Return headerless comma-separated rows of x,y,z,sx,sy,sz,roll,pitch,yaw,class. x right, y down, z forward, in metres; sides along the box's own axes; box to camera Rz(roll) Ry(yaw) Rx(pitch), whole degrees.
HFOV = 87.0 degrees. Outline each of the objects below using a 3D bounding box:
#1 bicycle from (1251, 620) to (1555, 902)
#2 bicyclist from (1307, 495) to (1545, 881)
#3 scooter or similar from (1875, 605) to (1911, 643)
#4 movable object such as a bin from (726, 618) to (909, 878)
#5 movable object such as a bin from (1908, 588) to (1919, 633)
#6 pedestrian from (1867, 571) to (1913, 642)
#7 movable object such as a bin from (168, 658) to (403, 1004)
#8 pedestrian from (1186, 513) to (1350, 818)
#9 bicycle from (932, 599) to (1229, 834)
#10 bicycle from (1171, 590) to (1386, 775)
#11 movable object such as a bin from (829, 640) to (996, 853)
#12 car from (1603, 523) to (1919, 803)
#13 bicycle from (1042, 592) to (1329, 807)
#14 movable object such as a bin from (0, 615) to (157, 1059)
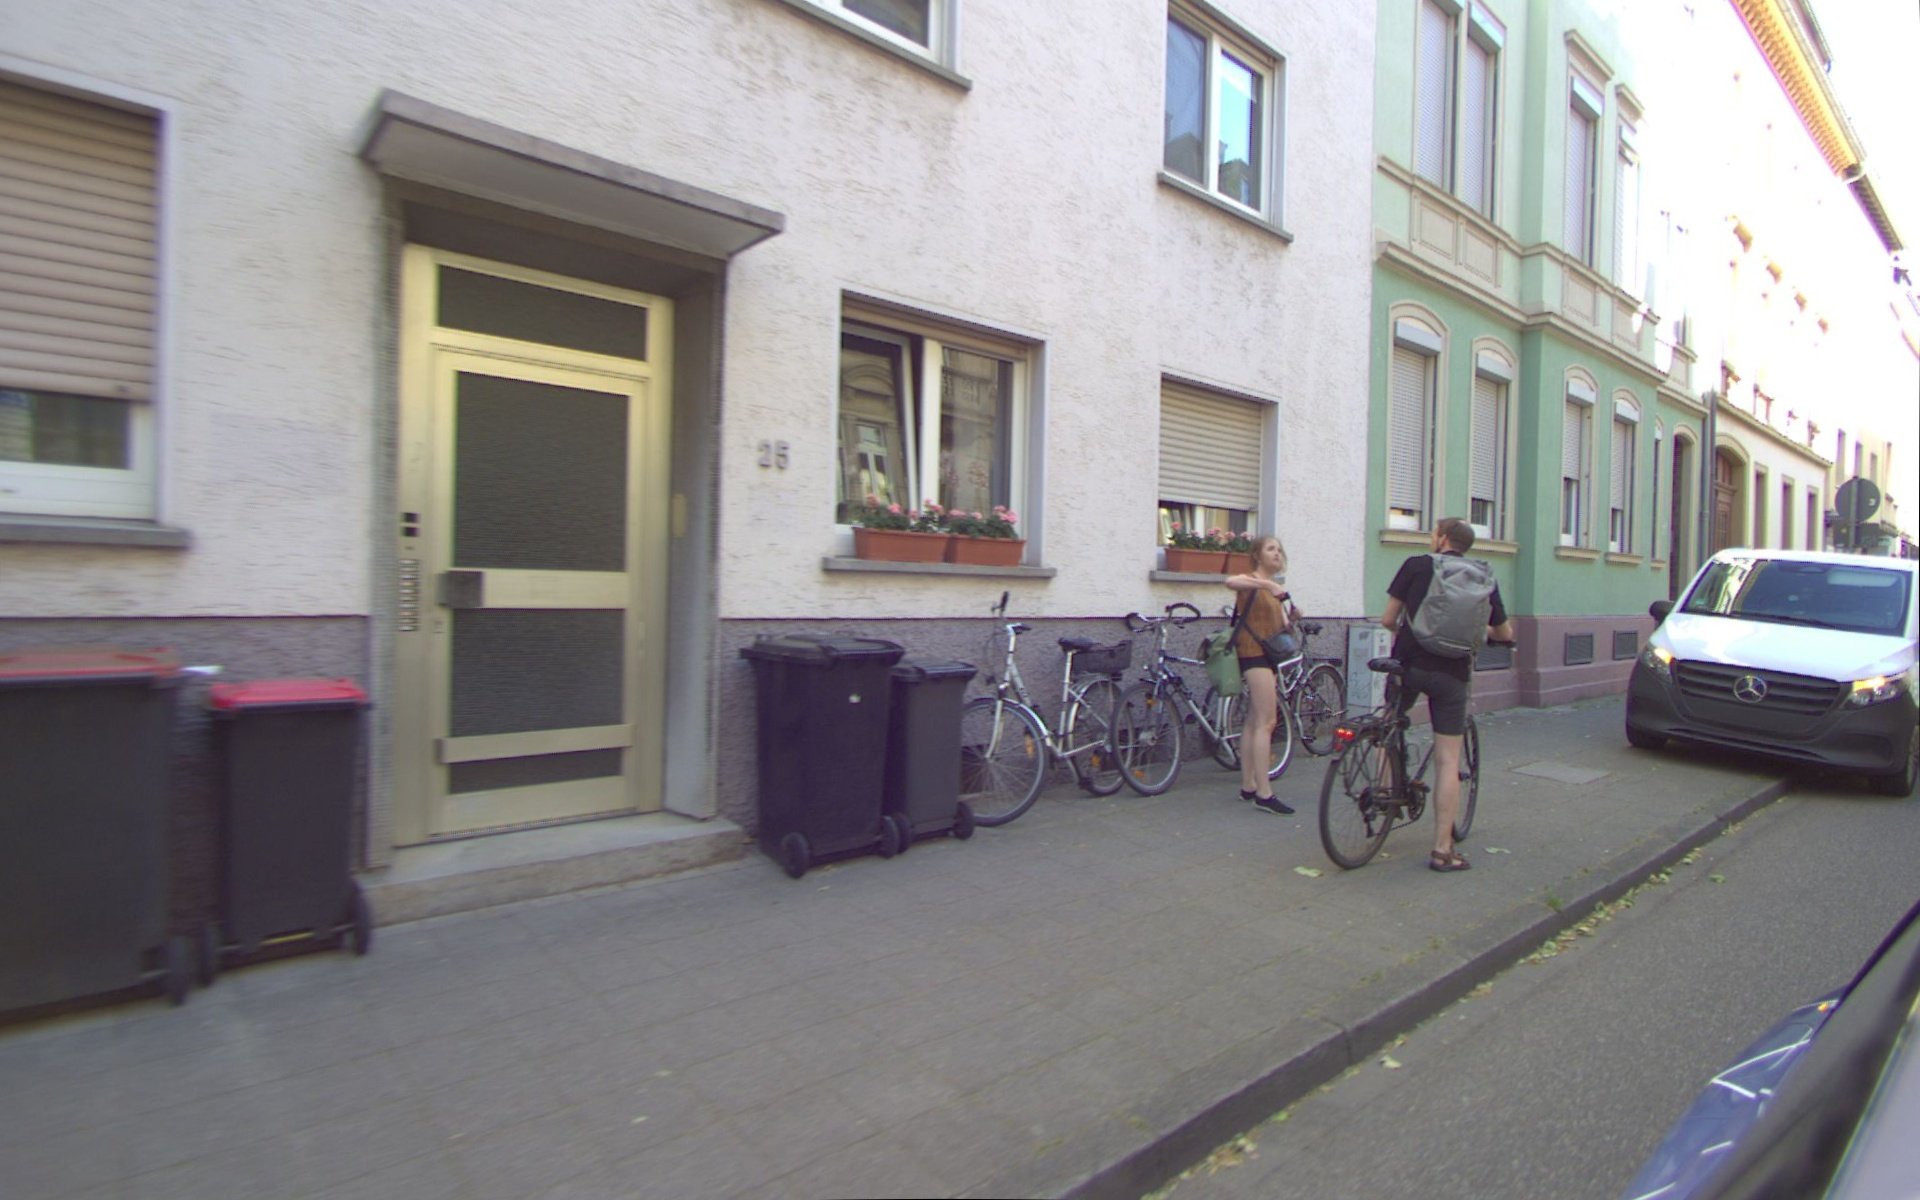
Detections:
2.365,0.714,5.258,1.954,1.150,0.664,1,3,-43,bicycle
2.403,0.390,5.226,0.808,1.792,0.761,1,3,-43,bicyclist
24.975,0.642,27.076,0.851,0.956,0.492,2,2,-34,scooter or similar
-0.680,0.647,4.795,0.592,1.075,0.617,0,3,-41,movable object such as a bin
31.987,0.360,33.426,1.347,1.454,0.748,0,4,-39,movable object such as a bin
25.570,0.166,27.845,0.644,1.882,0.742,4,2,27,pedestrian
-2.268,0.703,3.395,0.594,0.946,0.607,0,1,-40,movable object such as a bin
1.876,0.361,6.200,0.672,1.732,0.658,0,2,-29,pedestrian
0.753,0.597,5.955,1.833,1.167,0.570,-1,2,-37,bicycle
2.455,0.549,7.633,2.120,1.221,0.406,-1,2,-38,bicycle
-0.249,0.713,5.211,0.597,0.935,0.578,0,4,-41,movable object such as a bin
8.248,0.394,9.669,5.502,1.906,1.988,0,5,-42,car
1.549,0.572,6.672,2.223,1.221,0.439,-1,2,-34,bicycle
-2.692,0.633,2.933,0.559,1.136,0.629,-1,2,-40,movable object such as a bin
